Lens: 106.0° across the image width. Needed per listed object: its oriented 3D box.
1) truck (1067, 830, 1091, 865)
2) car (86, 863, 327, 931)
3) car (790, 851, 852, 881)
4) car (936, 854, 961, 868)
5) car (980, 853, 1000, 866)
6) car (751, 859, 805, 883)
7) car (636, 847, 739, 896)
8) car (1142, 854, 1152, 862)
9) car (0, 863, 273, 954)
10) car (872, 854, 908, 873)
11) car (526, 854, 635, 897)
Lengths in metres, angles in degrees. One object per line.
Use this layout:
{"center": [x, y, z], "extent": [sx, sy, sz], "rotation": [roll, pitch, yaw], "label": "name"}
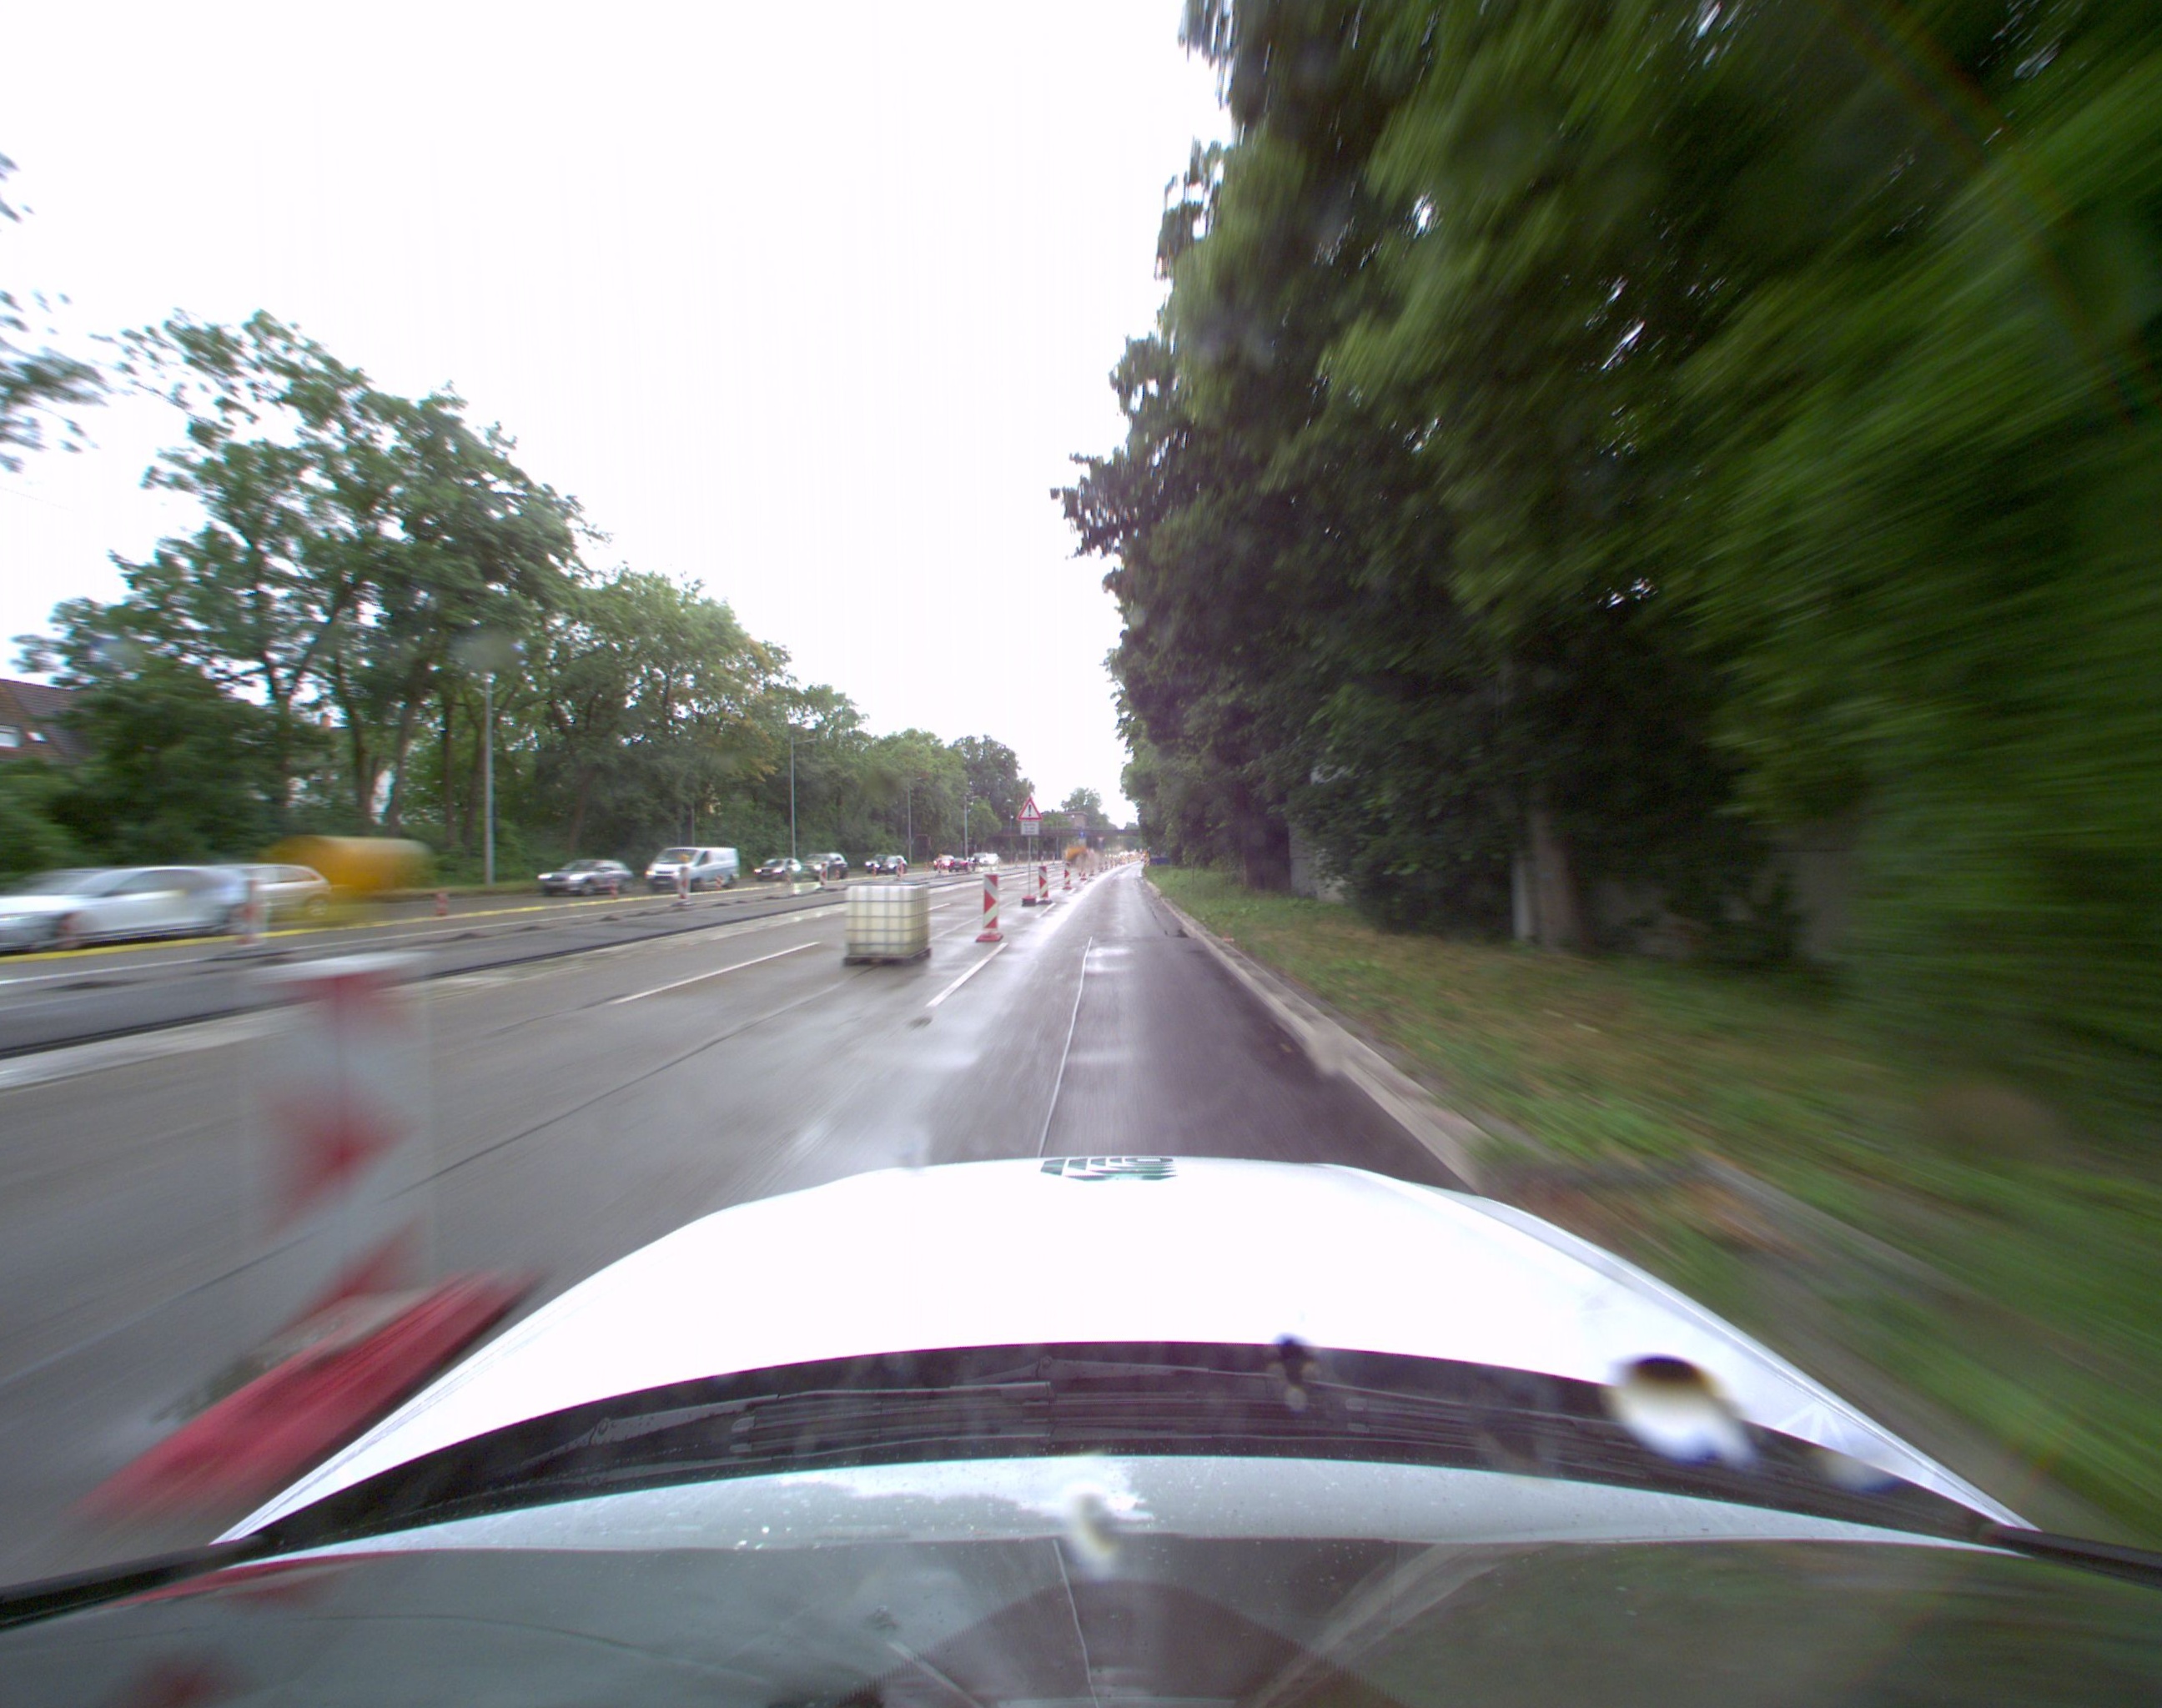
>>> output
{"center": [-0.197, -0.834, 106.880], "extent": [2.887, 4.259, 10.758], "rotation": [0, 0, 1], "label": "truck"}
{"center": [-20.492, 0.949, 19.333], "extent": [1.672, 1.400, 3.642], "rotation": [0, 0, 3], "label": "car"}
{"center": [-16.056, 0.712, 50.631], "extent": [2.013, 1.725, 5.016], "rotation": [0, 0, 3], "label": "car"}
{"center": [-13.667, 0.725, 83.985], "extent": [1.672, 1.400, 4.016], "rotation": [0, 0, 3], "label": "car"}
{"center": [-11.808, 0.654, 106.099], "extent": [1.882, 1.661, 4.897], "rotation": [0, 0, 3], "label": "car"}
{"center": [-18.943, 1.056, 51.095], "extent": [1.638, 1.420, 4.004], "rotation": [0, 0, 3], "label": "car"}
{"center": [-17.012, 0.704, 35.491], "extent": [1.986, 1.972, 4.905], "rotation": [0, 0, 1], "label": "car"}
{"center": [13.980, 0.816, 171.607], "extent": [1.983, 1.640, 4.007], "rotation": [-2, 0, 6], "label": "car"}
{"center": [-18.089, 0.919, 14.980], "extent": [1.987, 1.416, 4.393], "rotation": [-2, 0, 1], "label": "car"}
{"center": [-15.249, 0.730, 65.262], "extent": [1.769, 1.487, 4.199], "rotation": [0, 0, 2], "label": "car"}
{"center": [-20.041, 0.820, 32.816], "extent": [1.820, 1.621, 4.002], "rotation": [0, 0, 2], "label": "car"}
